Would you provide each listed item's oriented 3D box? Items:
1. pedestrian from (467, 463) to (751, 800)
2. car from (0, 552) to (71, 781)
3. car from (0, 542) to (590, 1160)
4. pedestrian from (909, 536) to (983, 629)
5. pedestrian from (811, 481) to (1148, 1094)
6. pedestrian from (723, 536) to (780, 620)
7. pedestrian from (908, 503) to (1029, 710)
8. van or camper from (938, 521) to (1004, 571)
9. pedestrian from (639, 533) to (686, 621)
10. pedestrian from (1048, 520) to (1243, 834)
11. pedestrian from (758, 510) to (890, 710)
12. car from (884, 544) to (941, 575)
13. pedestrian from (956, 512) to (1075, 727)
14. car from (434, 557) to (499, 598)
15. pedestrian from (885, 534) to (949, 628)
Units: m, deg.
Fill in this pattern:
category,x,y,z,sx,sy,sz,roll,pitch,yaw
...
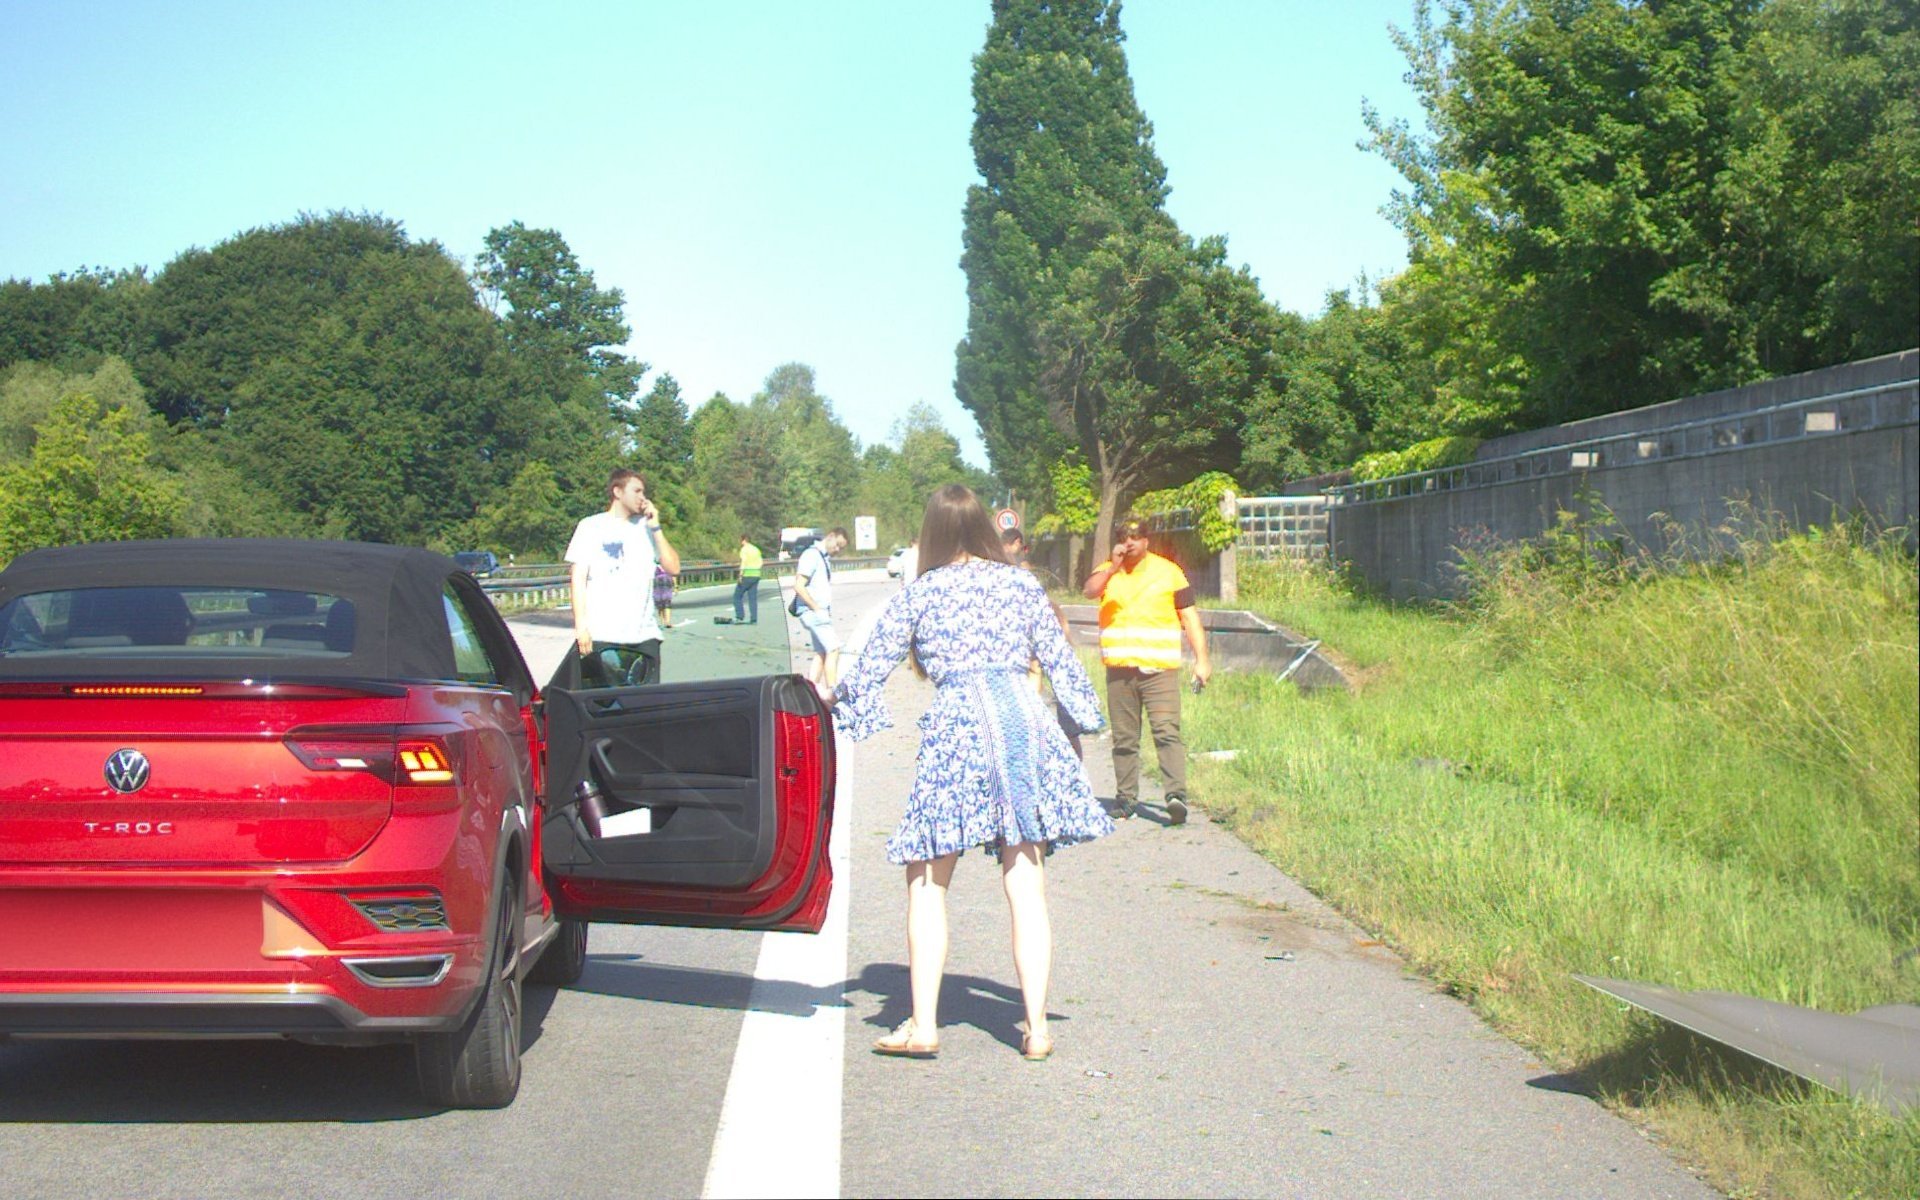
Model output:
category,x,y,z,sx,sy,sz,roll,pitch,yaw
pedestrian,-2.044,0.171,20.142,1.254,1.906,1.108,-1,1,22
car,-6.835,0.417,21.237,1.694,1.421,4.334,0,1,-2
car,-2.146,0.576,10.420,1.732,1.482,4.211,0,1,-2
pedestrian,-0.254,-0.320,62.612,1.007,1.683,0.999,0,0,-24
pedestrian,0.032,0.511,10.137,0.890,1.689,1.129,-1,1,-4
pedestrian,-4.231,-0.455,69.779,1.014,1.683,1.059,1,0,4
pedestrian,0.077,0.052,29.684,0.826,1.753,0.813,1,0,17
van or camper,0.532,-2.519,162.561,1.995,2.308,4.467,1,1,16
pedestrian,-5.729,-0.439,66.274,0.791,1.683,0.792,1,0,3
pedestrian,1.002,0.397,18.903,0.957,1.648,1.278,-1,1,-1
pedestrian,-1.233,0.086,31.471,1.088,1.782,1.107,1,0,3
car,-2.344,-1.995,169.253,1.733,1.482,4.207,1,1,15
pedestrian,0.445,0.156,27.989,0.894,1.719,0.754,1,0,-4
car,-18.020,-0.831,125.752,1.694,1.421,4.305,1,1,1
pedestrian,-0.776,-0.352,62.877,1.113,1.683,0.973,1,0,1
